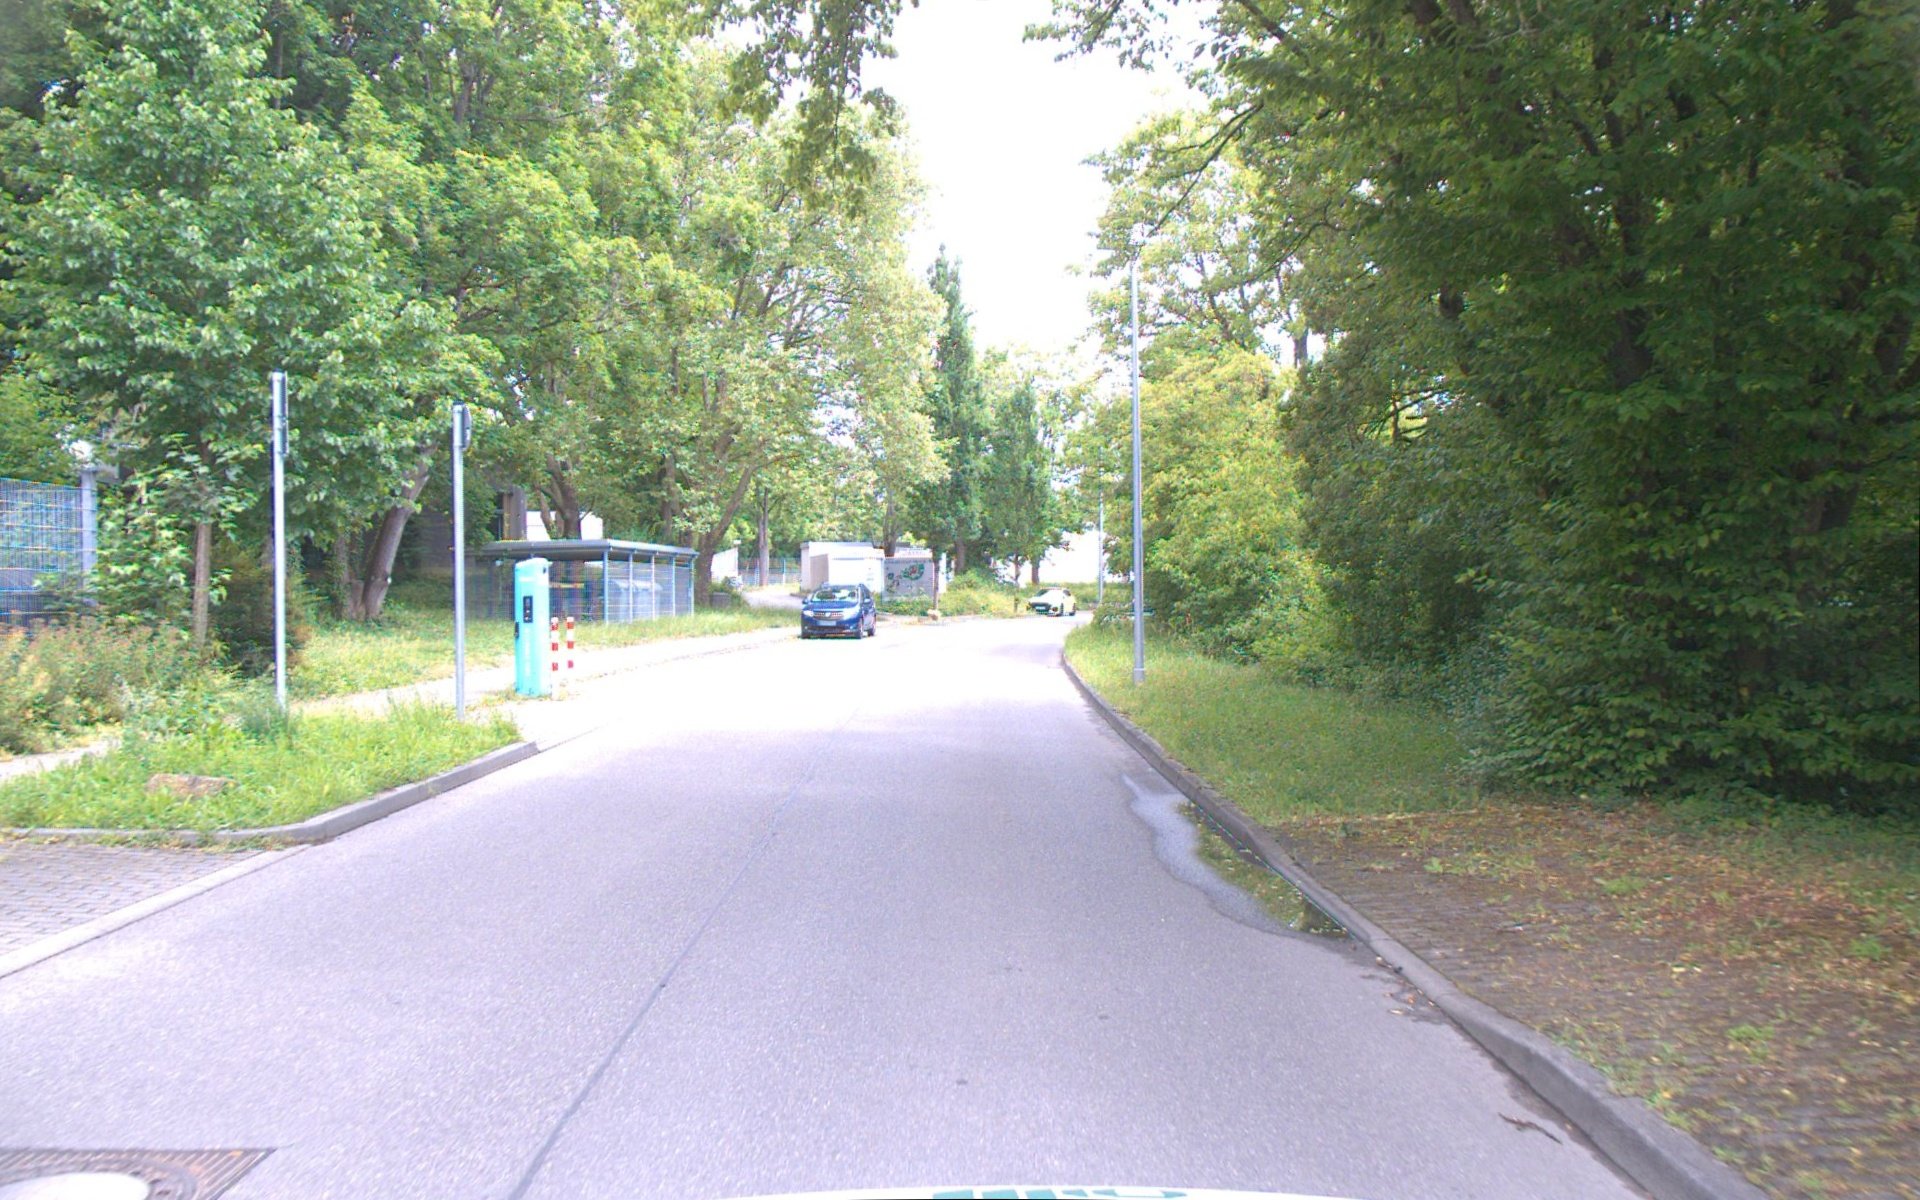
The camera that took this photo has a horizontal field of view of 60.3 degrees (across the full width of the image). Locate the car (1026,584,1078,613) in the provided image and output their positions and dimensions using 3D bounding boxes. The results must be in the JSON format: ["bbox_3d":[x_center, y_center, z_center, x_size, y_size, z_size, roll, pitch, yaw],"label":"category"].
[{"bbox_3d":[4.734,-0.080,84.594,1.664,1.427,4.275,1,0,17],"label":"car"}]

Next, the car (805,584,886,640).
[{"bbox_3d":[-3.235,0.312,47.373,1.644,1.538,4.434,0,0,5],"label":"car"}]

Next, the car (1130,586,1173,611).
[{"bbox_3d":[11.745,-0.096,101.340,1.503,1.484,3.717,0,0,25],"label":"car"}]
